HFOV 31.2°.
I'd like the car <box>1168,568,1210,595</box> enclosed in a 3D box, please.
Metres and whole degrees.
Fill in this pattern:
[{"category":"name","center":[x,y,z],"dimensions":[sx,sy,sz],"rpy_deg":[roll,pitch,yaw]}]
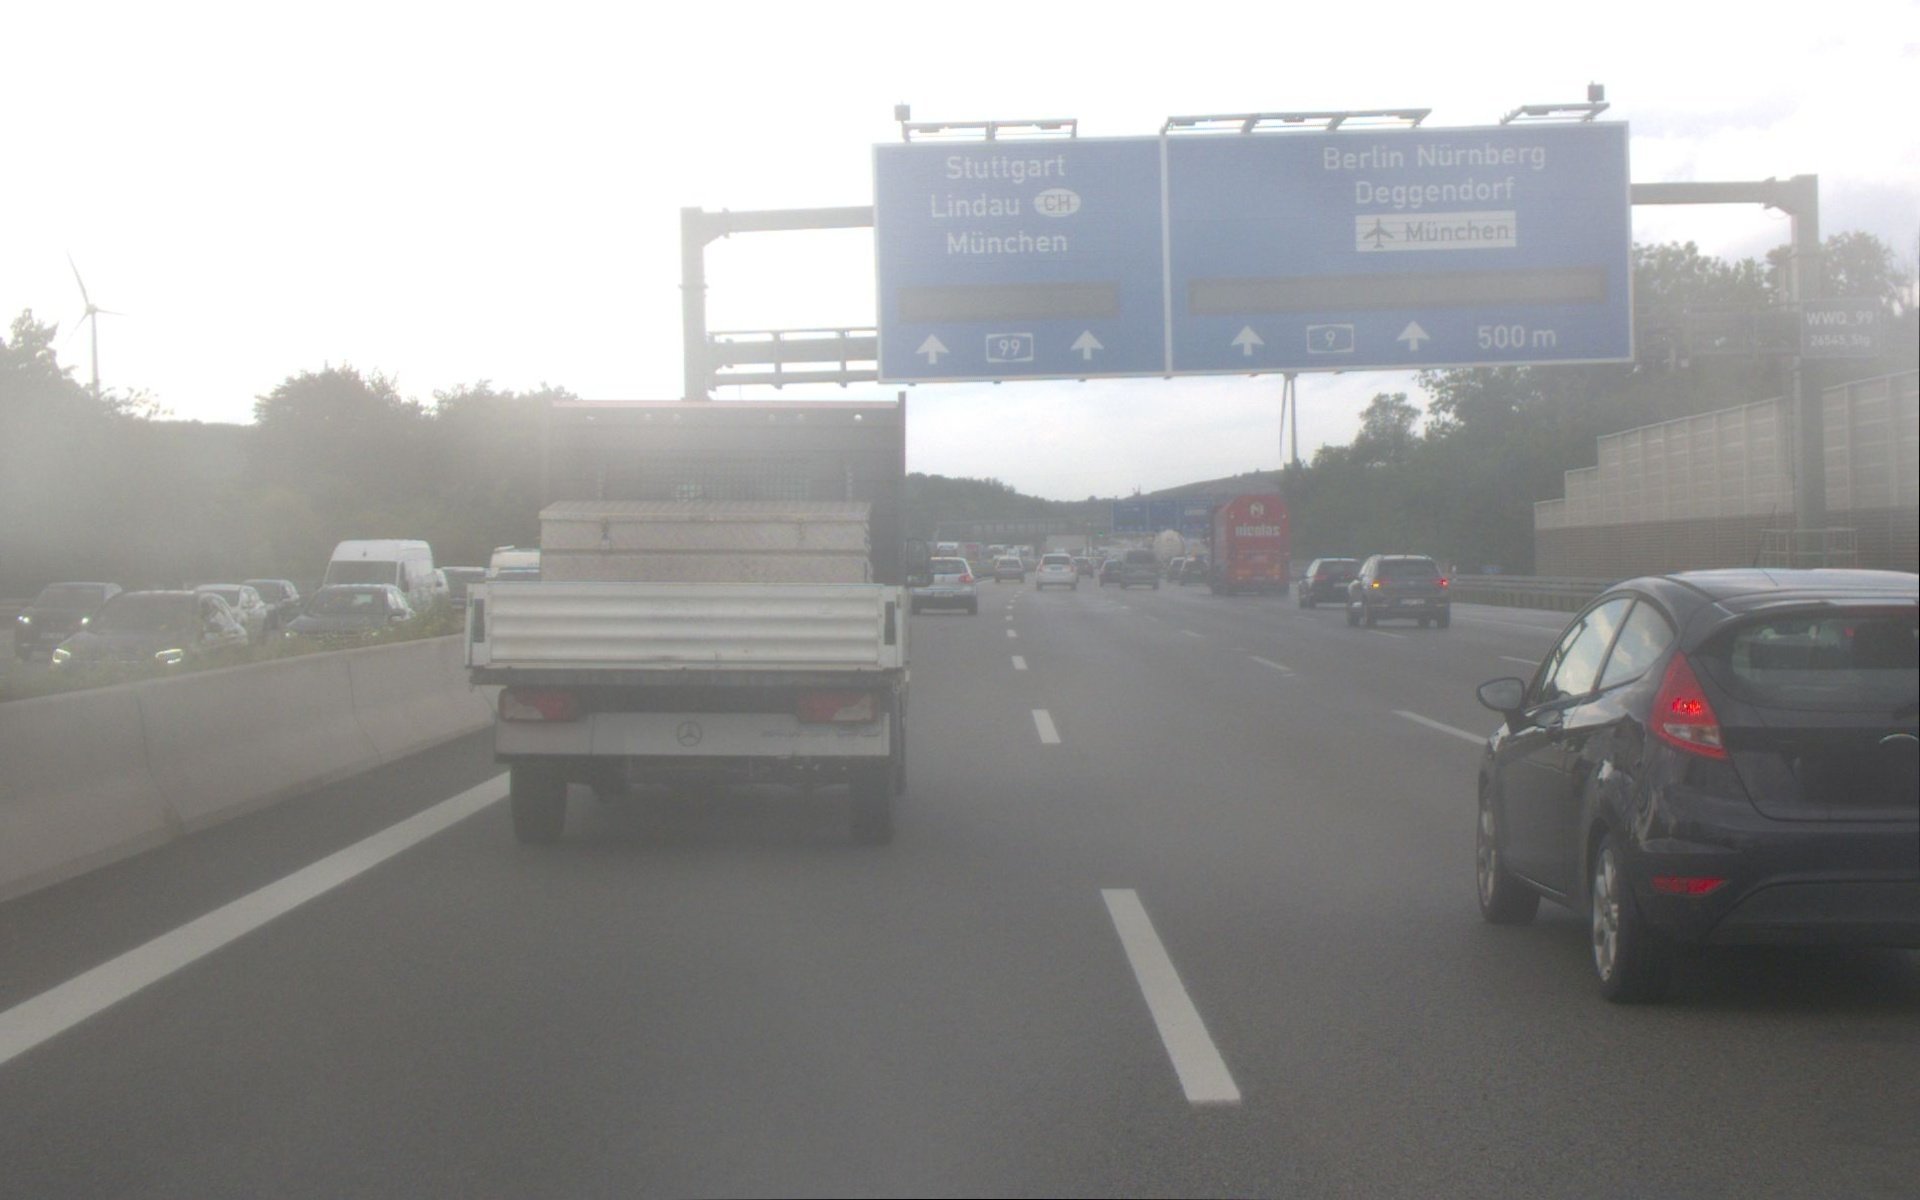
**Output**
[{"category":"car","center":[13.264,-1.074,199.102],"dimensions":[1.968,1.555,4.433],"rpy_deg":[-1,0,-2]}]

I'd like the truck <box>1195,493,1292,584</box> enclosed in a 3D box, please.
[{"category":"truck","center":[11.689,-2.583,142.965],"dimensions":[3.152,3.589,12.699],"rpy_deg":[1,1,1]}]

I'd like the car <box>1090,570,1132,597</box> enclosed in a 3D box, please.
[{"category":"car","center":[8.615,-0.947,196.374],"dimensions":[1.968,1.555,4.433],"rpy_deg":[-1,0,-3]}]

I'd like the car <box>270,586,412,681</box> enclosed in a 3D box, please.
[{"category":"car","center":[-11.163,0.577,62.300],"dimensions":[1.723,1.597,4.913],"rpy_deg":[1,0,-1]}]

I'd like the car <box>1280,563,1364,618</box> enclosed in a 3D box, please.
[{"category":"car","center":[10.663,-0.293,101.485],"dimensions":[1.882,1.555,4.433],"rpy_deg":[-1,0,-2]}]

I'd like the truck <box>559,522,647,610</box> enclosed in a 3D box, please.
[{"category":"truck","center":[-17.353,-1.661,168.019],"dimensions":[2.798,4.098,12.295],"rpy_deg":[-1,0,1]}]

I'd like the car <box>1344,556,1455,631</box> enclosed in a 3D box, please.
[{"category":"car","center":[9.369,-0.143,73.571],"dimensions":[1.882,1.537,4.433],"rpy_deg":[-1,0,1]}]

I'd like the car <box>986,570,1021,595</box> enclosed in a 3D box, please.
[{"category":"car","center":[2.757,-1.125,218.805],"dimensions":[1.968,1.555,4.433],"rpy_deg":[-1,0,-2]}]

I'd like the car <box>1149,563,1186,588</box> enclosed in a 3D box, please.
[{"category":"car","center":[13.435,-1.578,222.741],"dimensions":[1.968,1.555,4.433],"rpy_deg":[-1,0,-2]}]

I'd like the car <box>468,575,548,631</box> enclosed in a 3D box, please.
[{"category":"car","center":[-14.117,0.068,107.585],"dimensions":[1.818,1.672,4.478],"rpy_deg":[1,0,1]}]

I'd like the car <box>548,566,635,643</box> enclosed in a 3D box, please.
[{"category":"car","center":[-10.227,0.110,95.720],"dimensions":[1.818,2.070,5.375],"rpy_deg":[-1,0,0]}]

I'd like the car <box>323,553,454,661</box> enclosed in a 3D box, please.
[{"category":"car","center":[-14.729,0.153,89.032],"dimensions":[2.048,2.643,7.736],"rpy_deg":[-1,0,0]}]

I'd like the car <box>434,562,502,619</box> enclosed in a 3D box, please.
[{"category":"car","center":[-18.014,-0.368,126.096],"dimensions":[1.818,2.070,4.478],"rpy_deg":[0,1,0]}]

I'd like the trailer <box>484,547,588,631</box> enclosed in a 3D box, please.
[{"category":"trailer","center":[-13.952,-0.386,113.529],"dimensions":[2.342,2.644,7.183],"rpy_deg":[-1,0,1]}]

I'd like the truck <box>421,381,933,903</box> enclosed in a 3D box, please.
[{"category":"truck","center":[-1.353,0.106,19.646],"dimensions":[2.307,2.431,7.149],"rpy_deg":[0,1,0]}]

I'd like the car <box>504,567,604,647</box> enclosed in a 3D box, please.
[{"category":"car","center":[-10.133,0.148,86.078],"dimensions":[1.818,1.898,5.424],"rpy_deg":[-1,0,0]}]

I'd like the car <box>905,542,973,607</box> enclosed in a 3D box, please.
[{"category":"car","center":[-0.530,-0.694,89.946],"dimensions":[1.717,1.618,4.279],"rpy_deg":[0,2,0]}]

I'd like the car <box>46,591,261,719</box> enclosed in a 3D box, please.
[{"category":"car","center":[-10.889,0.705,46.759],"dimensions":[1.723,1.597,4.913],"rpy_deg":[1,0,0]}]

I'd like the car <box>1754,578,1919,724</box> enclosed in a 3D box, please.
[{"category":"car","center":[9.795,0.491,36.083],"dimensions":[1.950,1.413,4.232],"rpy_deg":[0,1,0]}]

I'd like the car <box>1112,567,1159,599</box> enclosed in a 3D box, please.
[{"category":"car","center":[8.859,-0.868,173.690],"dimensions":[1.968,1.555,4.433],"rpy_deg":[-1,0,-2]}]

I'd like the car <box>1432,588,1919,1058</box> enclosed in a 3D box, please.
[{"category":"car","center":[2.879,0.678,12.691],"dimensions":[1.717,1.412,4.278],"rpy_deg":[0,1,0]}]

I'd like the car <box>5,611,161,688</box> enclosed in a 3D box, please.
[{"category":"car","center":[-18.405,1.011,72.358],"dimensions":[1.982,1.489,4.913],"rpy_deg":[-1,0,0]}]

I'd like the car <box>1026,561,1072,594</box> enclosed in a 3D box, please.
[{"category":"car","center":[4.307,-1.091,167.407],"dimensions":[1.968,1.555,4.433],"rpy_deg":[-1,0,-2]}]
